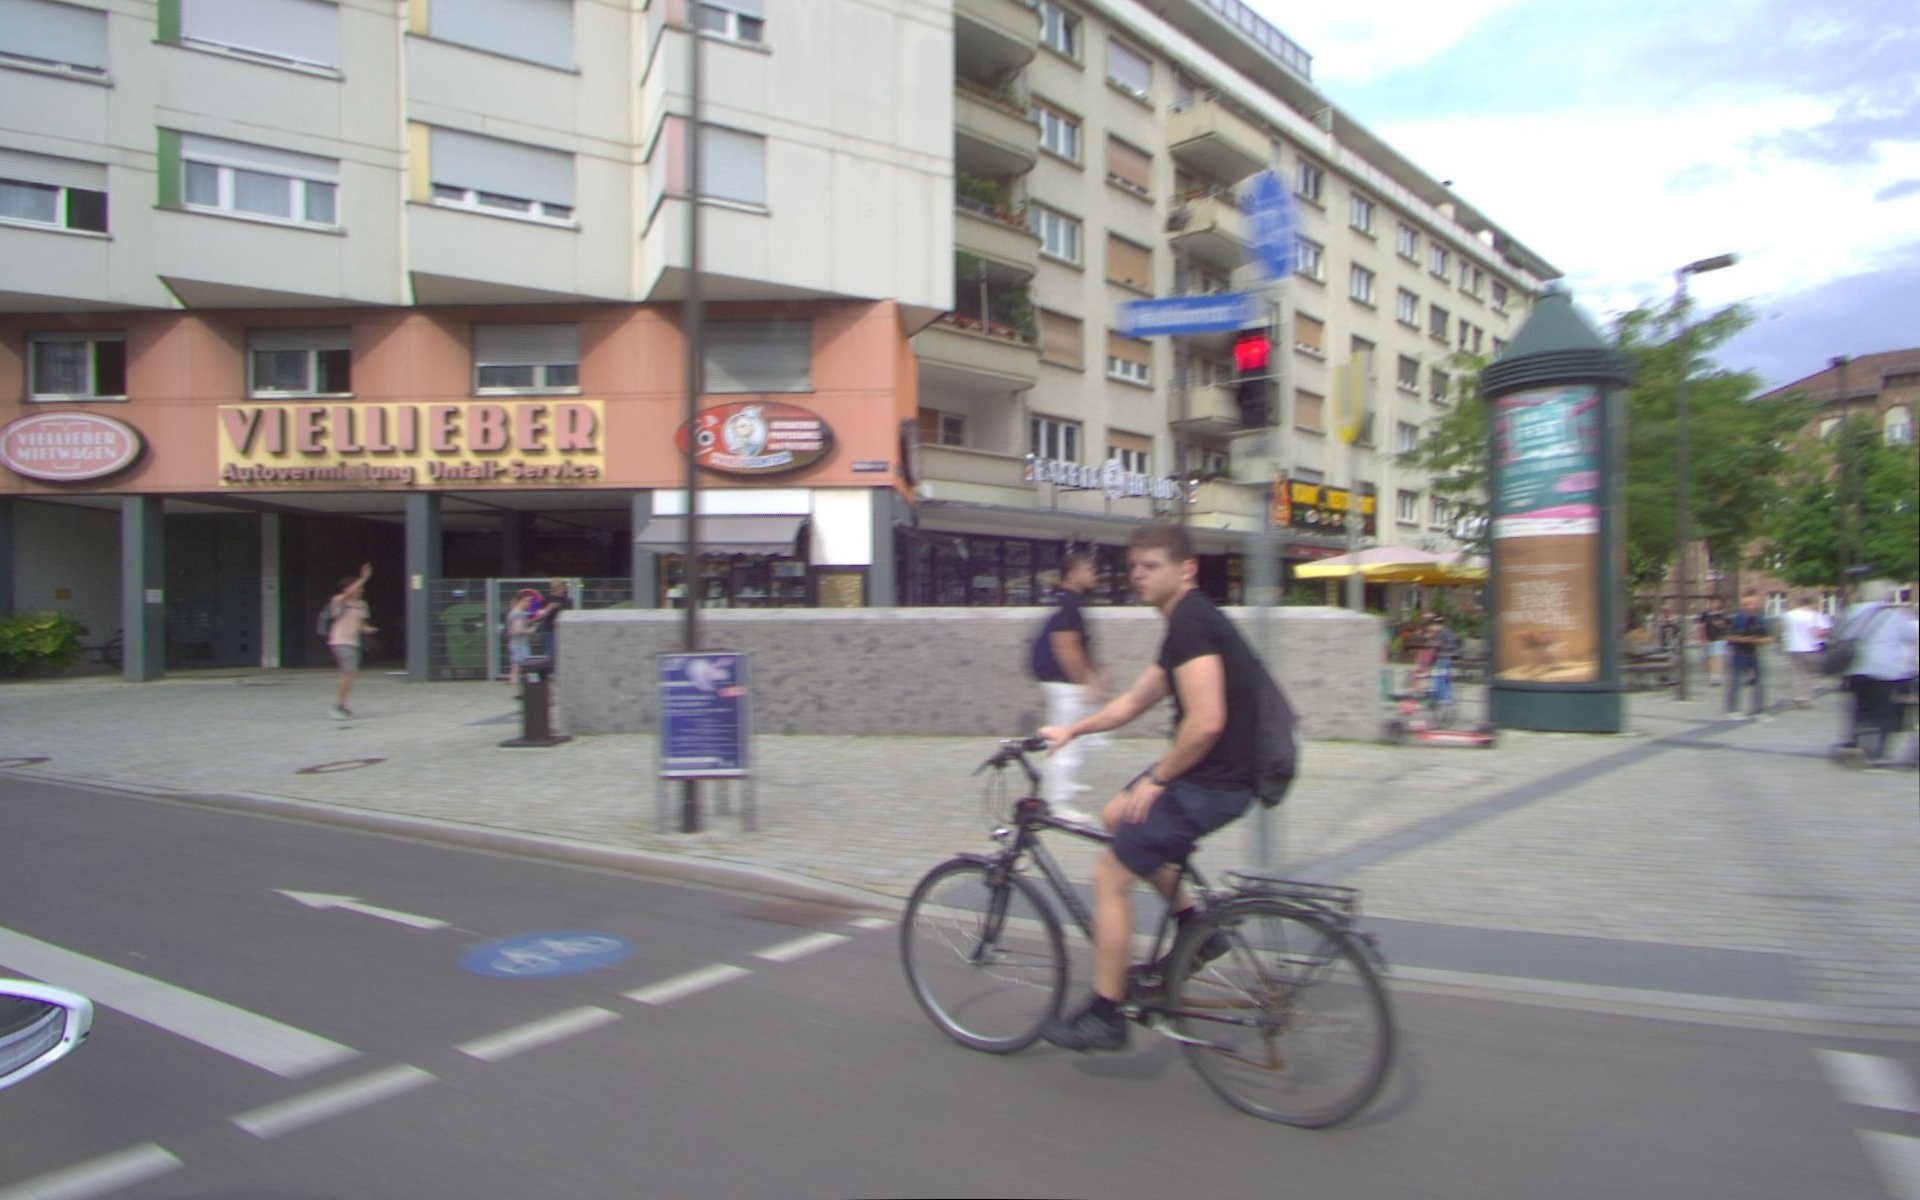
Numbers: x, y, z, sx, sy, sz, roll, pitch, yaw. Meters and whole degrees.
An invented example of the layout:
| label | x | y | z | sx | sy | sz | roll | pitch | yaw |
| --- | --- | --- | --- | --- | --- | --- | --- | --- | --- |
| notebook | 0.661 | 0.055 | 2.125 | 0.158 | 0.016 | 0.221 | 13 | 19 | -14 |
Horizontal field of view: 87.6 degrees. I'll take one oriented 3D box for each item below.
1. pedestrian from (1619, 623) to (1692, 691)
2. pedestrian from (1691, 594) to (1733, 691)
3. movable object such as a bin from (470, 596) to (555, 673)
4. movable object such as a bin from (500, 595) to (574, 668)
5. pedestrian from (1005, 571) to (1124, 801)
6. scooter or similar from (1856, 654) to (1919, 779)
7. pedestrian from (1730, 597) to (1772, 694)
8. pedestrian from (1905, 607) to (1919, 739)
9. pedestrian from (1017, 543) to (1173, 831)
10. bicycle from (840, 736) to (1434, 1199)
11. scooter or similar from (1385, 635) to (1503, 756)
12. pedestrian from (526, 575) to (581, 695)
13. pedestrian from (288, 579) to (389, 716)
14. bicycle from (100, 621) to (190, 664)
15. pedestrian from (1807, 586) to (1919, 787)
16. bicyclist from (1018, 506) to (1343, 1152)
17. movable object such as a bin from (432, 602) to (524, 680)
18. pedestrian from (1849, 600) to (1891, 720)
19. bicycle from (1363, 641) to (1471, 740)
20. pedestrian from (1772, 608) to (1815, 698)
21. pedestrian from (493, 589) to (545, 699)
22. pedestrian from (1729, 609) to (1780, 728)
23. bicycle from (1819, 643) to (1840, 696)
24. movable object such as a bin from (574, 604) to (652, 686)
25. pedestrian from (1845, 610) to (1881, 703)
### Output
| label | x | y | z | sx | sy | sz | roll | pitch | yaw |
| --- | --- | --- | --- | --- | --- | --- | --- | --- | --- |
| pedestrian | 13.395 | 1.093 | 19.293 | 1.023 | 1.260 | 0.927 | 4 | -3 | -39 |
| pedestrian | 14.999 | 0.834 | 19.975 | 0.578 | 1.892 | 0.544 | 2 | 1 | 43 |
| movable object such as a bin | -9.235 | 0.705 | 20.713 | 1.174 | 1.535 | 1.198 | 0 | -1 | 2 |
| movable object such as a bin | -9.199 | 0.685 | 21.822 | 1.145 | 1.535 | 1.005 | 0 | -1 | 2 |
| pedestrian | 0.848 | 0.683 | 8.297 | 0.869 | 1.824 | 0.676 | 1 | 2 | -2 |
| scooter or similar | 9.141 | 1.100 | 9.626 | 0.692 | 1.125 | 0.605 | 0 | 0 | -30 |
| pedestrian | 15.750 | 0.886 | 19.935 | 0.578 | 1.892 | 0.486 | 2 | 1 | 43 |
| pedestrian | 12.797 | 0.963 | 13.072 | 0.798 | 1.701 | 0.621 | 3 | -3 | -43 |
| pedestrian | 0.960 | 0.606 | 7.318 | 0.994 | 1.998 | 0.721 | 1 | 2 | -2 |
| bicycle | 0.499 | 1.099 | 3.426 | 1.988 | 1.136 | 0.405 | -1 | -2 | 32 |
| scooter or similar | 5.078 | 0.984 | 10.541 | 1.107 | 1.228 | 0.285 | 0 | -1 | 25 |
| pedestrian | -6.693 | 0.556 | 16.502 | 0.578 | 1.929 | 0.674 | 0 | 2 | 4 |
| pedestrian | -8.733 | 0.652 | 14.100 | 0.952 | 1.878 | 0.658 | 0 | 2 | 6 |
| bicycle | -17.866 | 0.925 | 21.970 | 1.645 | 0.908 | 0.454 | 1 | 0 | 3 |
| pedestrian | 8.488 | 0.761 | 9.284 | 0.924 | 1.763 | 0.682 | 0 | 0 | -28 |
| bicyclist | 0.693 | 0.624 | 3.173 | 0.852 | 1.731 | 0.556 | 0 | -1 | 38 |
| movable object such as a bin | -9.342 | 0.786 | 19.474 | 1.200 | 1.479 | 1.149 | 0 | -1 | 2 |
| pedestrian | 13.743 | 0.891 | 15.127 | 0.694 | 1.759 | 0.411 | 1 | -1 | -42 |
| bicycle | 5.735 | 1.088 | 12.718 | 0.534 | 1.027 | 2.448 | 0 | 0 | 7 |
| pedestrian | 16.388 | 1.021 | 19.677 | 0.578 | 1.727 | 0.634 | 2 | 1 | 43 |
| pedestrian | -6.924 | 0.685 | 15.742 | 0.578 | 1.696 | 0.473 | 0 | 2 | 4 |
| pedestrian | 10.989 | 0.925 | 13.853 | 0.812 | 1.596 | 0.411 | 1 | -1 | -41 |
| bicycle | 16.961 | 1.341 | 19.528 | 0.287 | 1.009 | 1.131 | 0 | -1 | 42 |
| movable object such as a bin | -6.705 | 0.853 | 19.417 | 1.067 | 1.535 | 1.147 | 0 | -1 | 2 |
| pedestrian | 17.276 | 1.068 | 19.159 | 0.474 | 1.727 | 0.634 | 2 | 1 | 43 |
